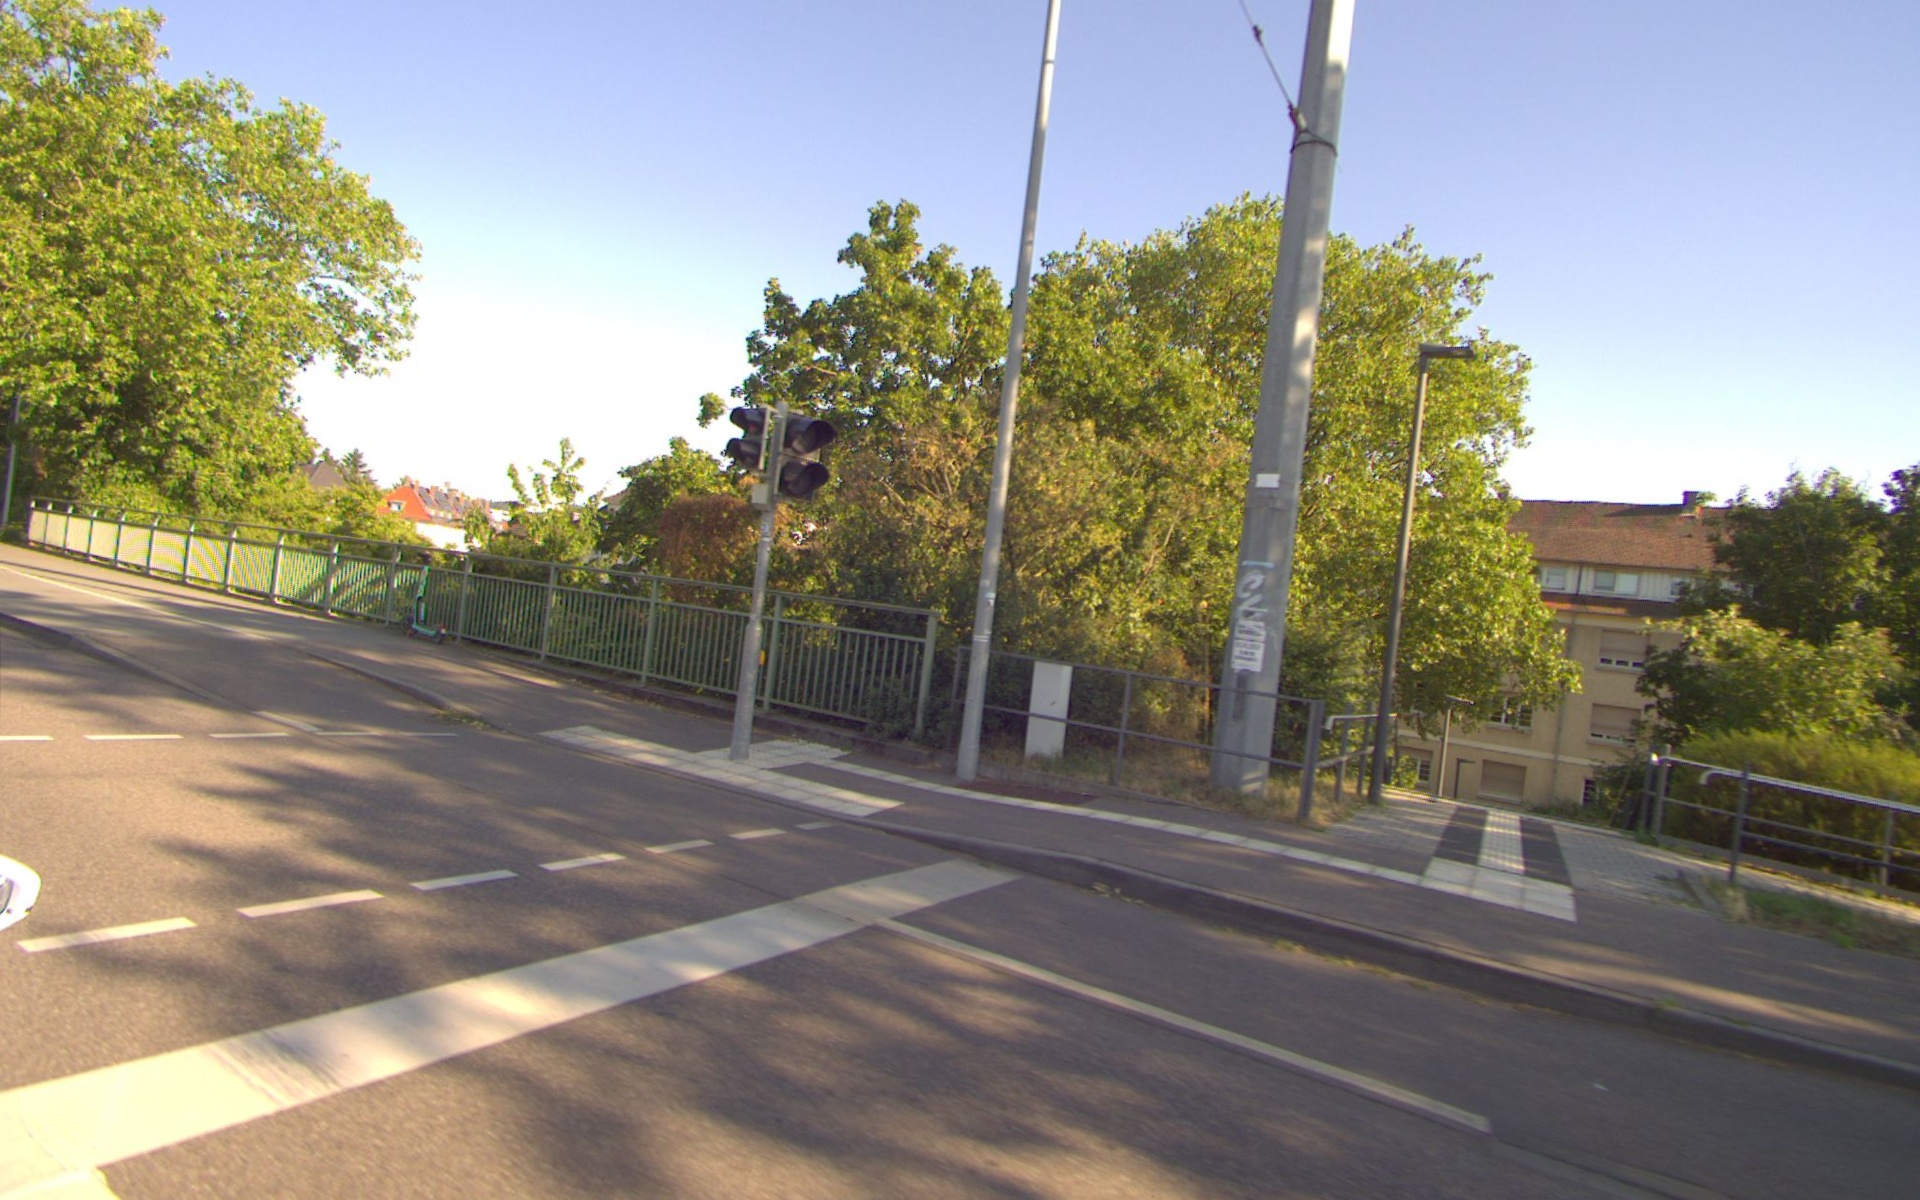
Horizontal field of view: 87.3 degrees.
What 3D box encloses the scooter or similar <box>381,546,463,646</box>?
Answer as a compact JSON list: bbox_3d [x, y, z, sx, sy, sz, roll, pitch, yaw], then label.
[{"bbox_3d":[-7.651,-0.065,14.295,1.065,1.290,0.427,7,1,32],"label":"scooter or similar"}]
